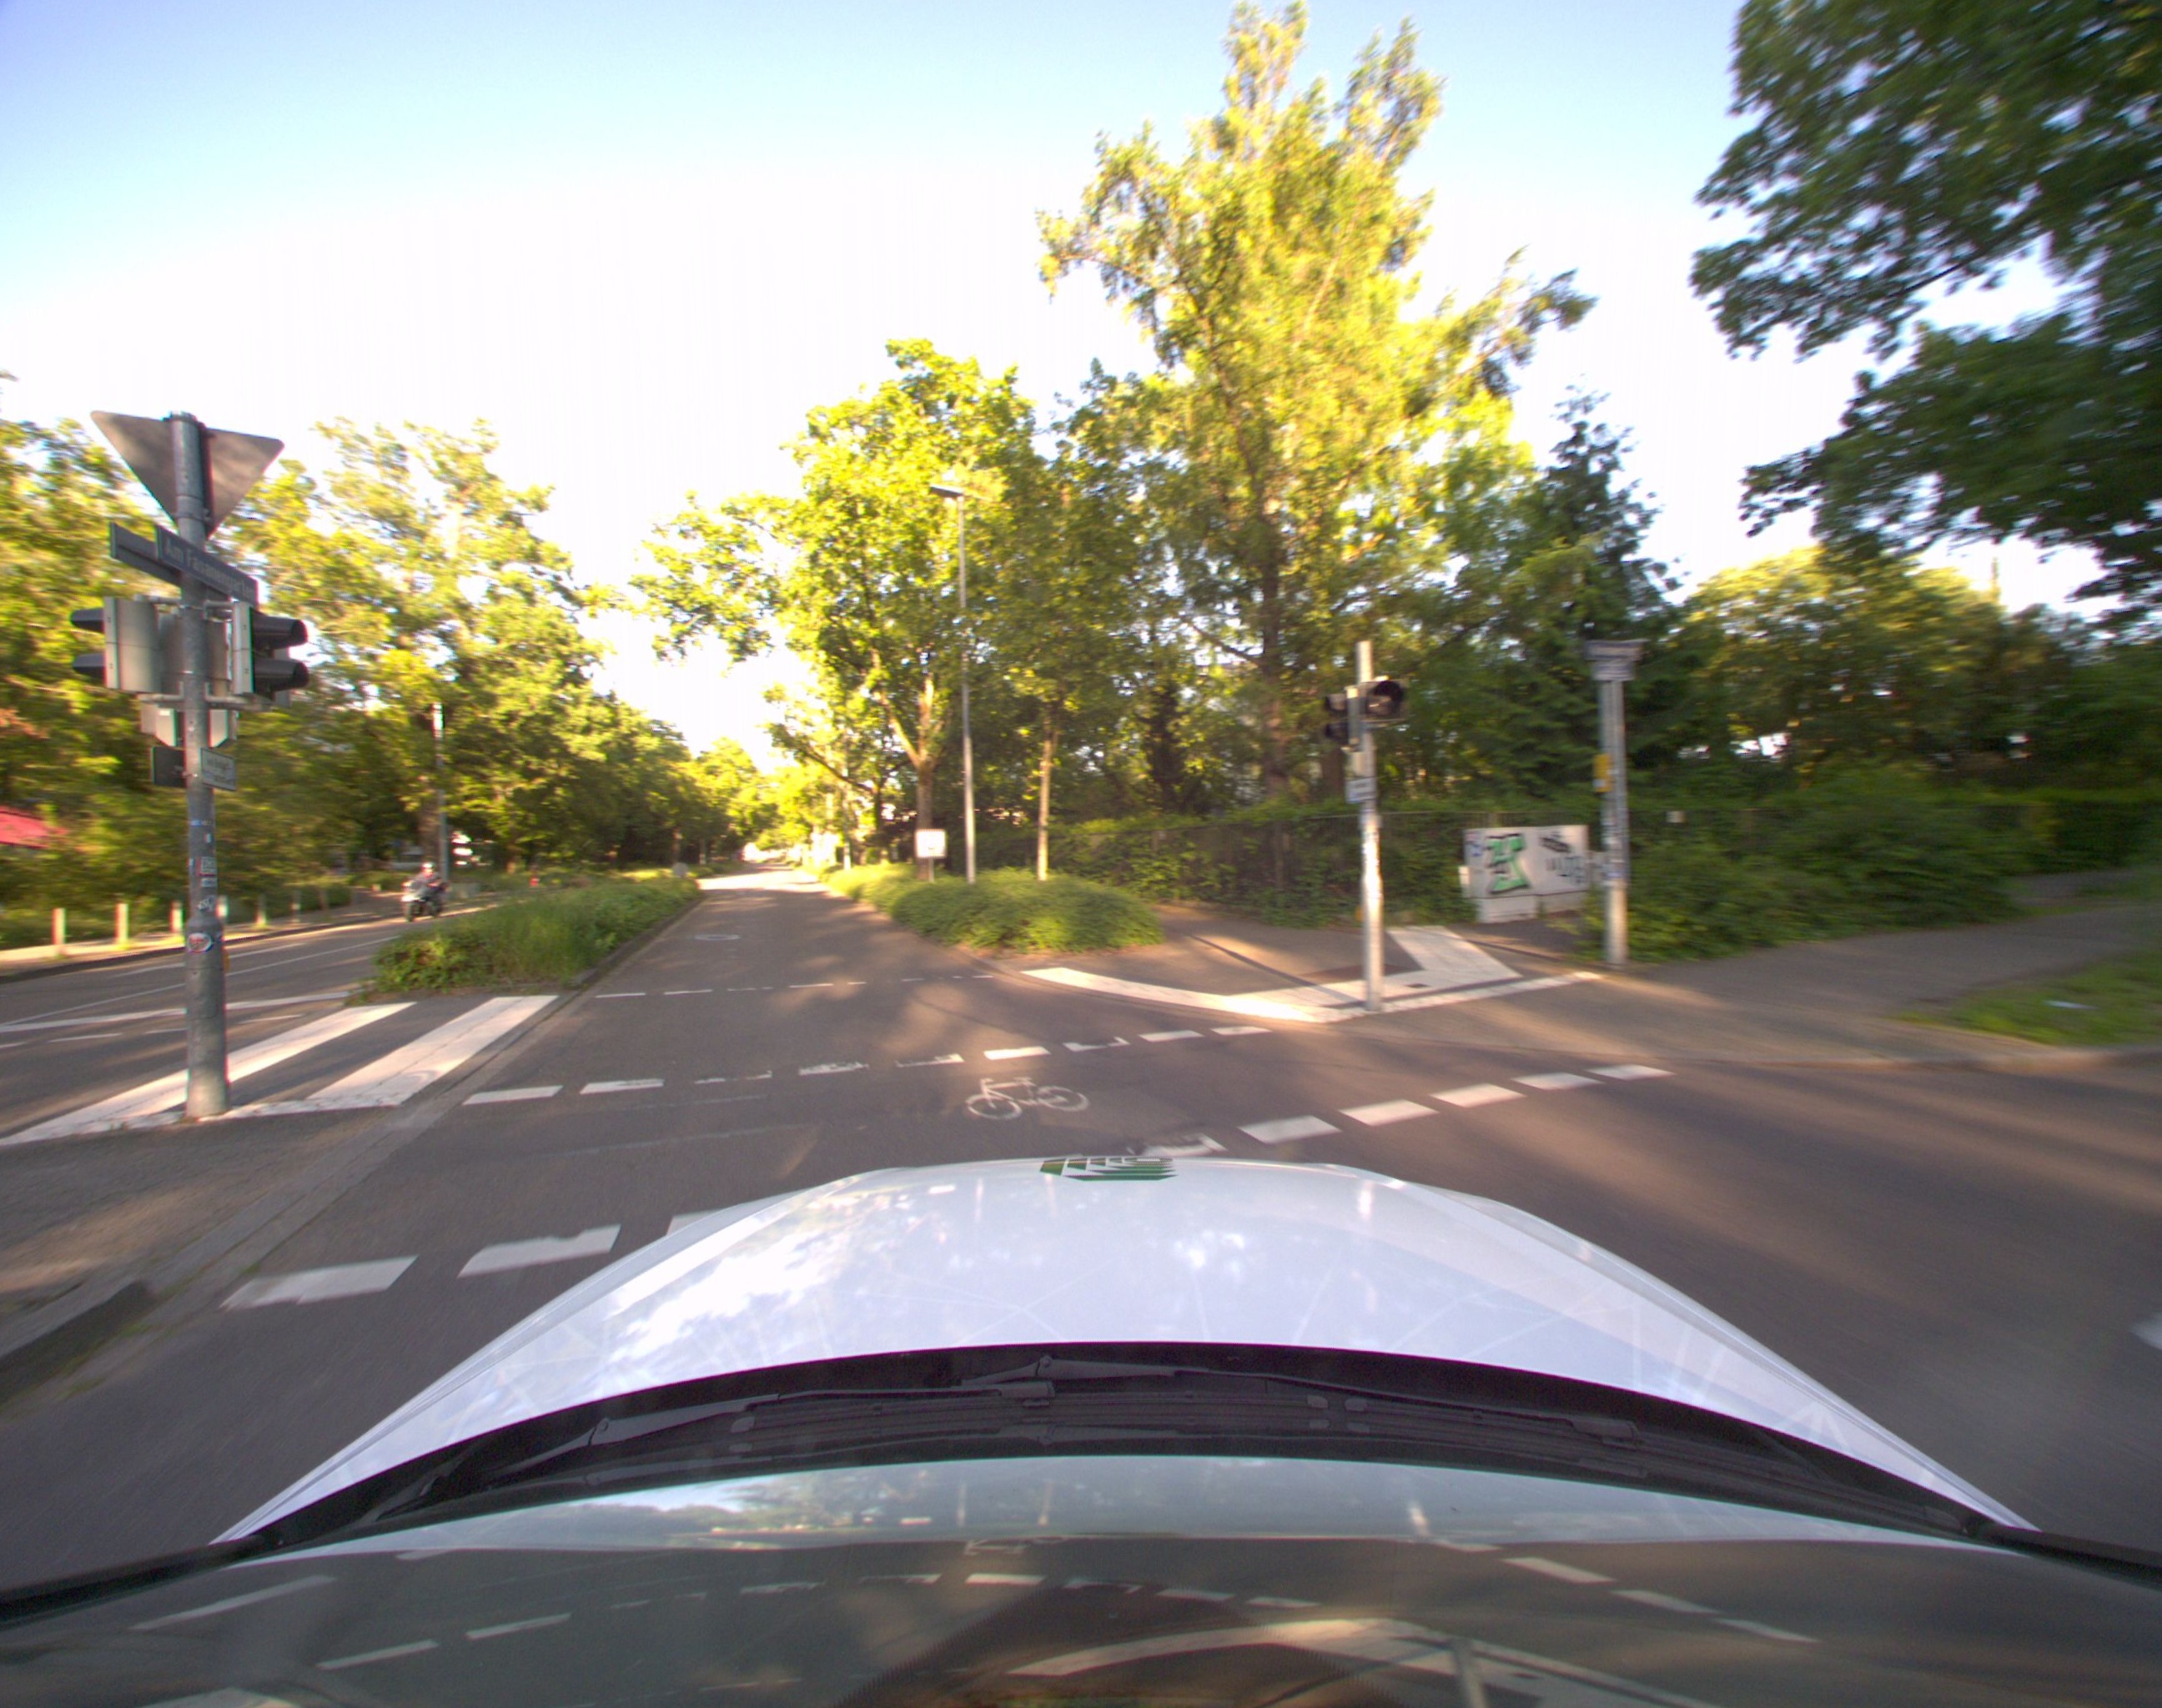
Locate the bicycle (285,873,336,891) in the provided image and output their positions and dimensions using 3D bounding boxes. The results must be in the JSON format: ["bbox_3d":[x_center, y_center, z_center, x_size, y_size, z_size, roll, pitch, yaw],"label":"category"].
[{"bbox_3d":[-50.704,1.845,53.633,0.531,1.071,2.441,1,1,18],"label":"bicycle"}]

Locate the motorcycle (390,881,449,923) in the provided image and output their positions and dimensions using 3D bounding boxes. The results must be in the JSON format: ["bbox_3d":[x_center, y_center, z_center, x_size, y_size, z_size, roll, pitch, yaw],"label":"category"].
[{"bbox_3d":[-19.295,1.379,23.804,0.524,1.068,2.273,-2,1,-18],"label":"motorcycle"}]

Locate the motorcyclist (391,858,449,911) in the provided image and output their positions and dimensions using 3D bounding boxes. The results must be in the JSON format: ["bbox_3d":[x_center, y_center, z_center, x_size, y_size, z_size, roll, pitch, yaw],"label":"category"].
[{"bbox_3d":[-19.389,0.873,23.911,0.951,1.470,1.063,-2,1,-19],"label":"motorcyclist"}]

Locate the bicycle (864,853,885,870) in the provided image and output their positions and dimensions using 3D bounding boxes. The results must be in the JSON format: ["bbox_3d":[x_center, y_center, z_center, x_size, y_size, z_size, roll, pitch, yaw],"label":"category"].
[{"bbox_3d":[-16.483,0.573,65.069,0.879,1.200,2.329,-4,1,4],"label":"bicycle"}]
